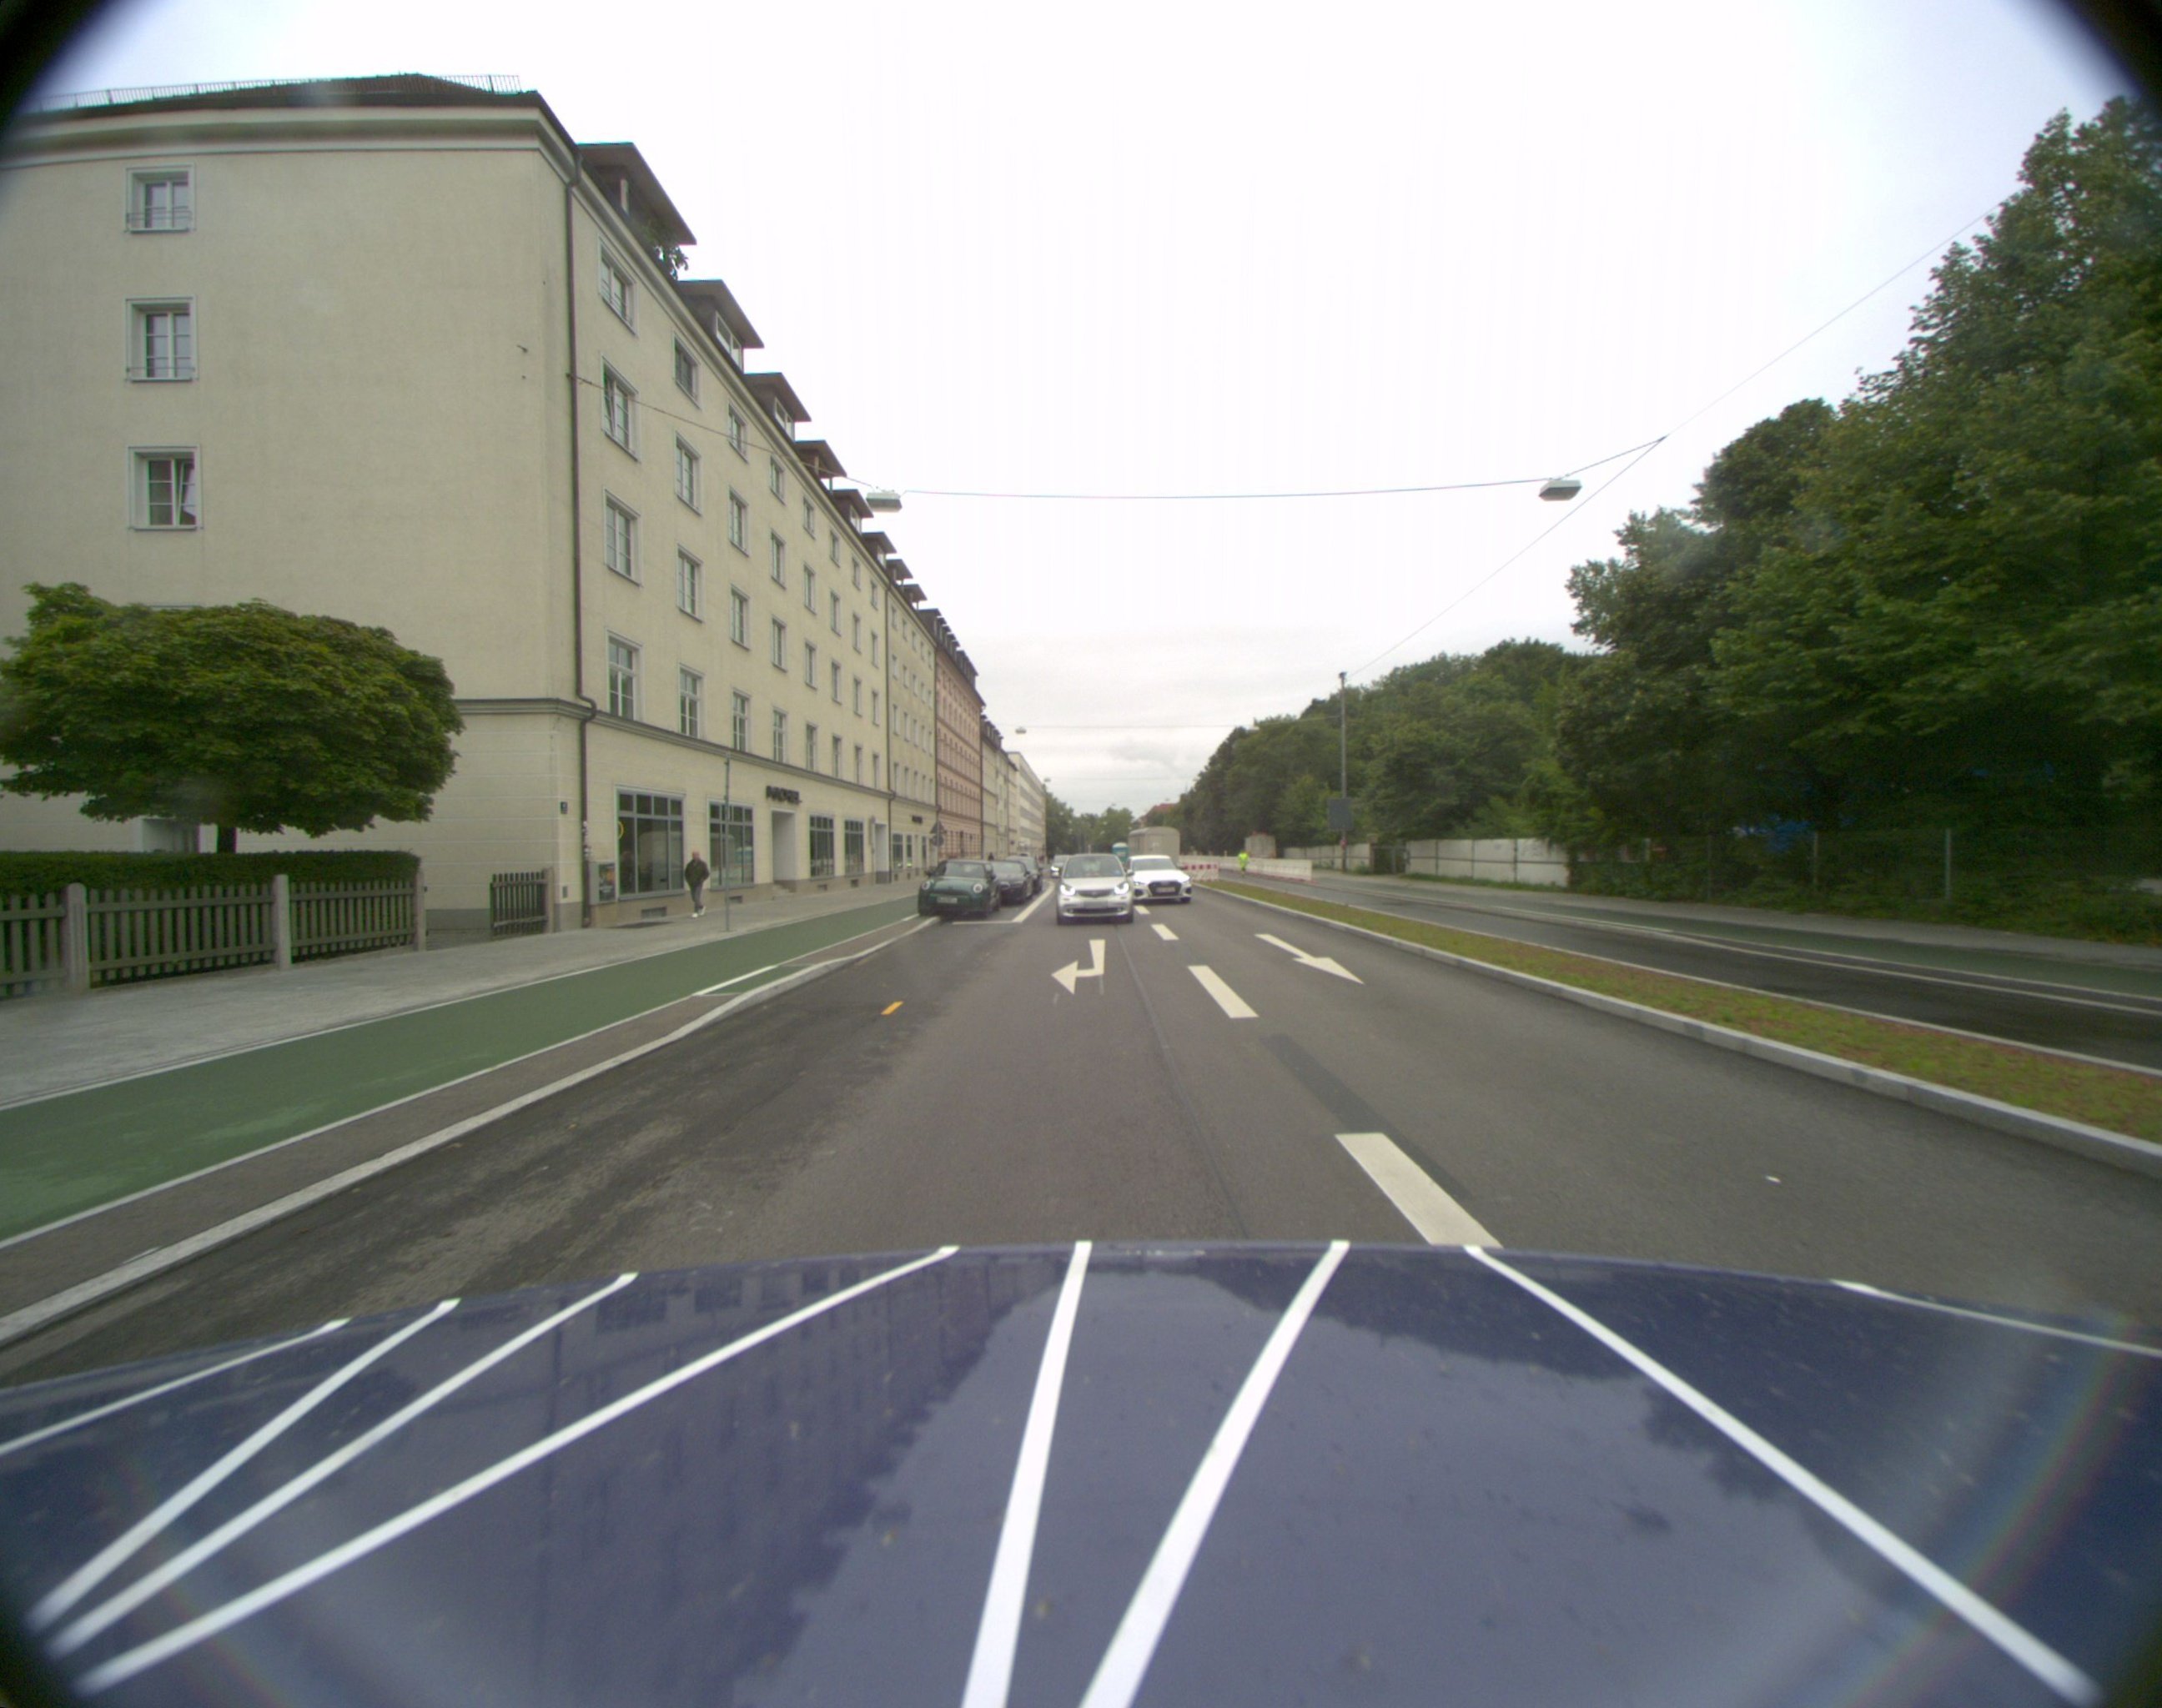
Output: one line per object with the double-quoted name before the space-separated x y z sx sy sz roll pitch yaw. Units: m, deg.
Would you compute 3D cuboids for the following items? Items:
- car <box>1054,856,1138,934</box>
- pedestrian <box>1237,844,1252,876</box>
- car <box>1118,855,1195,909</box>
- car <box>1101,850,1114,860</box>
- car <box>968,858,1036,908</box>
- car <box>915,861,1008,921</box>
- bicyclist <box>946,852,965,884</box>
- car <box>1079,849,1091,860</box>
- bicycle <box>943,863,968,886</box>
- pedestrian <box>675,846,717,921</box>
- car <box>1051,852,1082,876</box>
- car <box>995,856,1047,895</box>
"car" 0.328 0.827 17.208 1.633 1.495 4.000 -1 0 1
"pedestrian" 10.568 0.395 49.108 0.757 2.002 0.867 -2 1 1
"car" 2.248 0.798 23.624 1.818 1.416 4.451 -2 0 -1
"car" 3.889 0.163 111.087 1.739 1.425 4.000 -1 0 1
"car" -2.521 0.889 25.158 1.739 1.425 4.000 -1 0 1
"car" -3.021 0.886 19.986 1.739 1.313 4.000 -1 0 1
"bicyclist" -6.076 0.666 36.779 0.724 1.543 0.858 -2 1 0
"car" 0.704 0.045 136.835 1.998 2.002 4.000 0 1 1
"bicycle" -6.066 0.973 36.812 0.751 1.026 2.531 -2 0 0
"pedestrian" -9.819 0.744 19.403 0.655 1.863 0.826 1 1 1
"car" -0.948 0.636 51.762 1.922 1.433 4.306 -3 0 0
"car" -2.410 0.846 31.470 1.739 1.425 4.000 -1 0 1
